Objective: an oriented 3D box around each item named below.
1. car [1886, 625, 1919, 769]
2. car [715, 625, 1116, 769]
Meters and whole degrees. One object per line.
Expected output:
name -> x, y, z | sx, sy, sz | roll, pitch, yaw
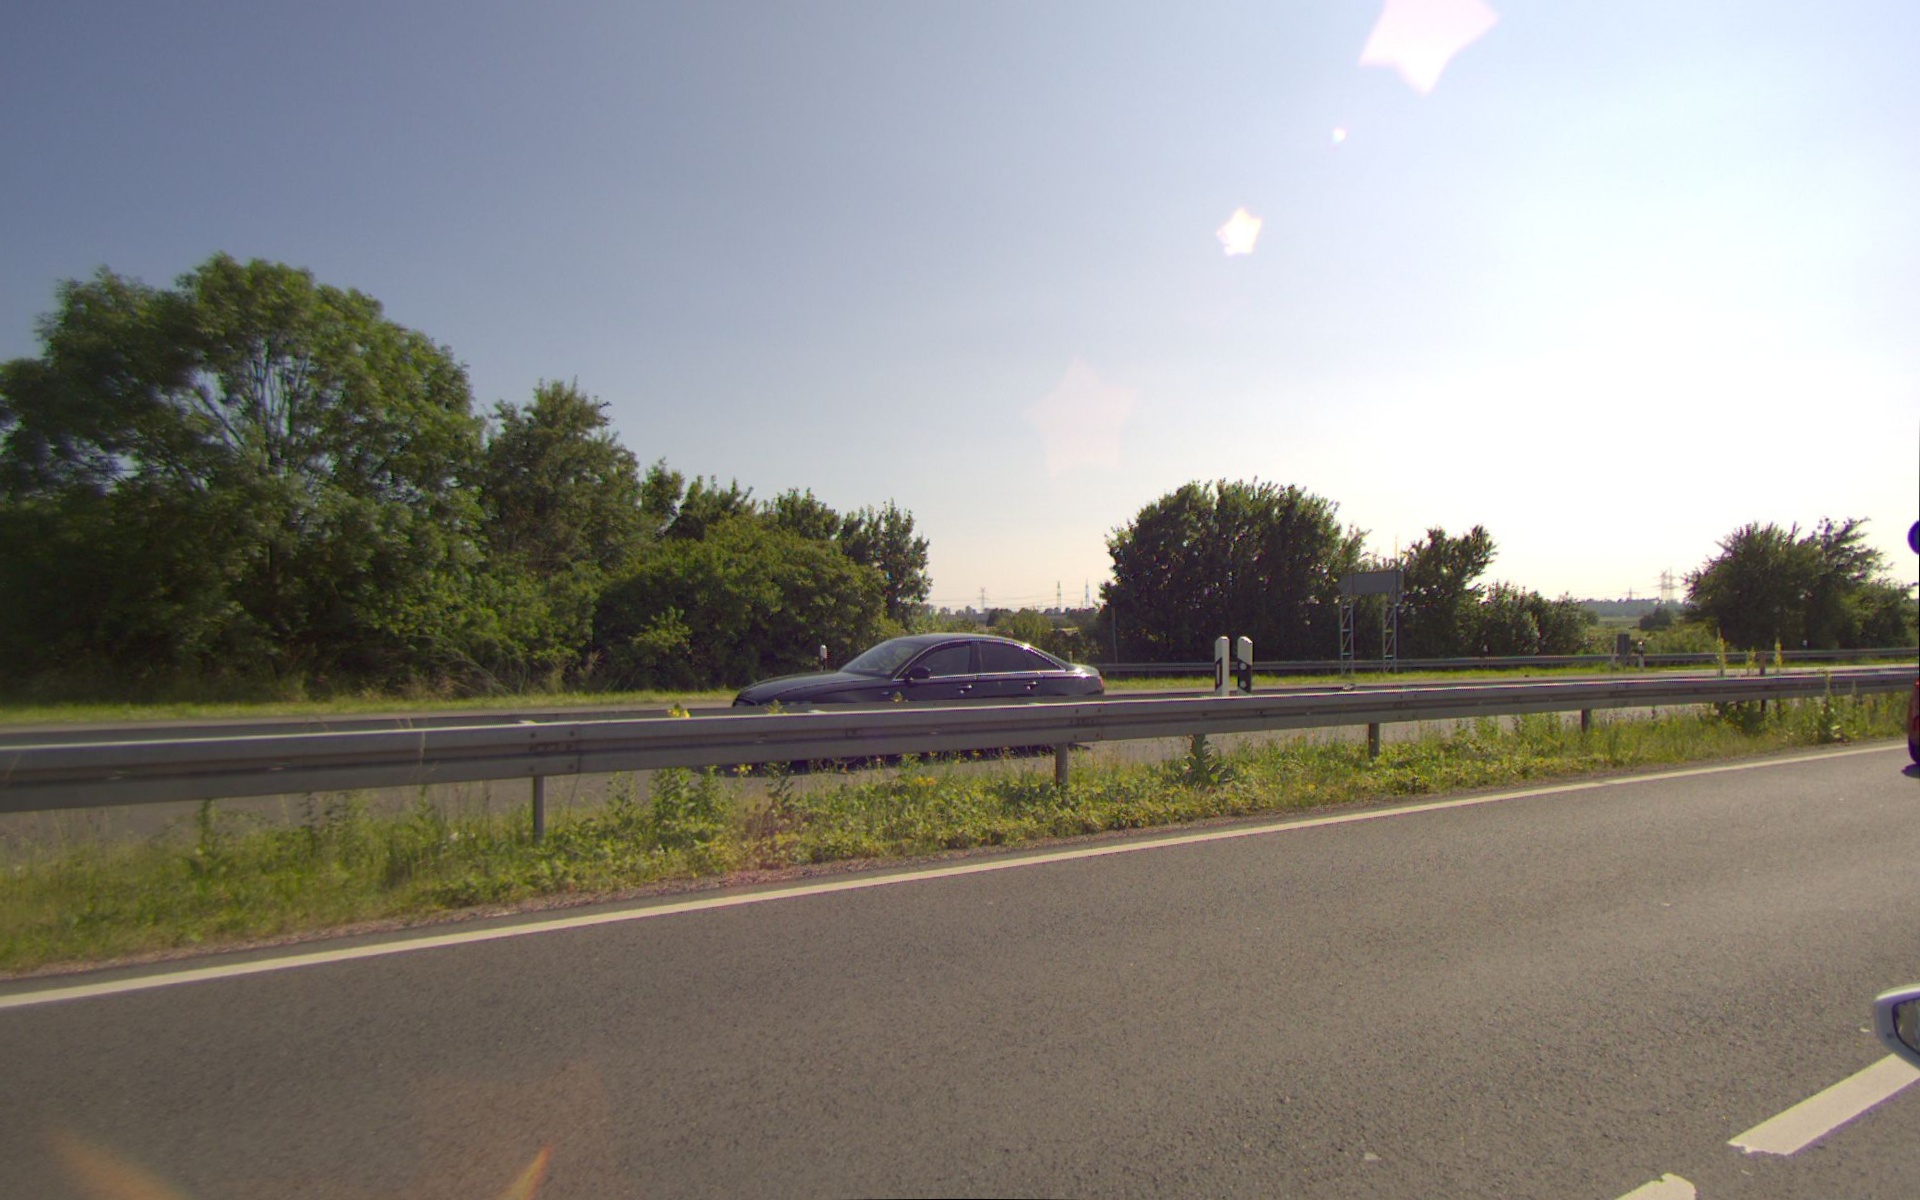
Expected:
car -> 11.914, 1.032, 10.796 | 4.360, 1.456, 1.701 | 2, -2, -30
car -> -0.464, 1.088, 12.346 | 4.621, 1.439, 1.791 | 2, 0, -30
